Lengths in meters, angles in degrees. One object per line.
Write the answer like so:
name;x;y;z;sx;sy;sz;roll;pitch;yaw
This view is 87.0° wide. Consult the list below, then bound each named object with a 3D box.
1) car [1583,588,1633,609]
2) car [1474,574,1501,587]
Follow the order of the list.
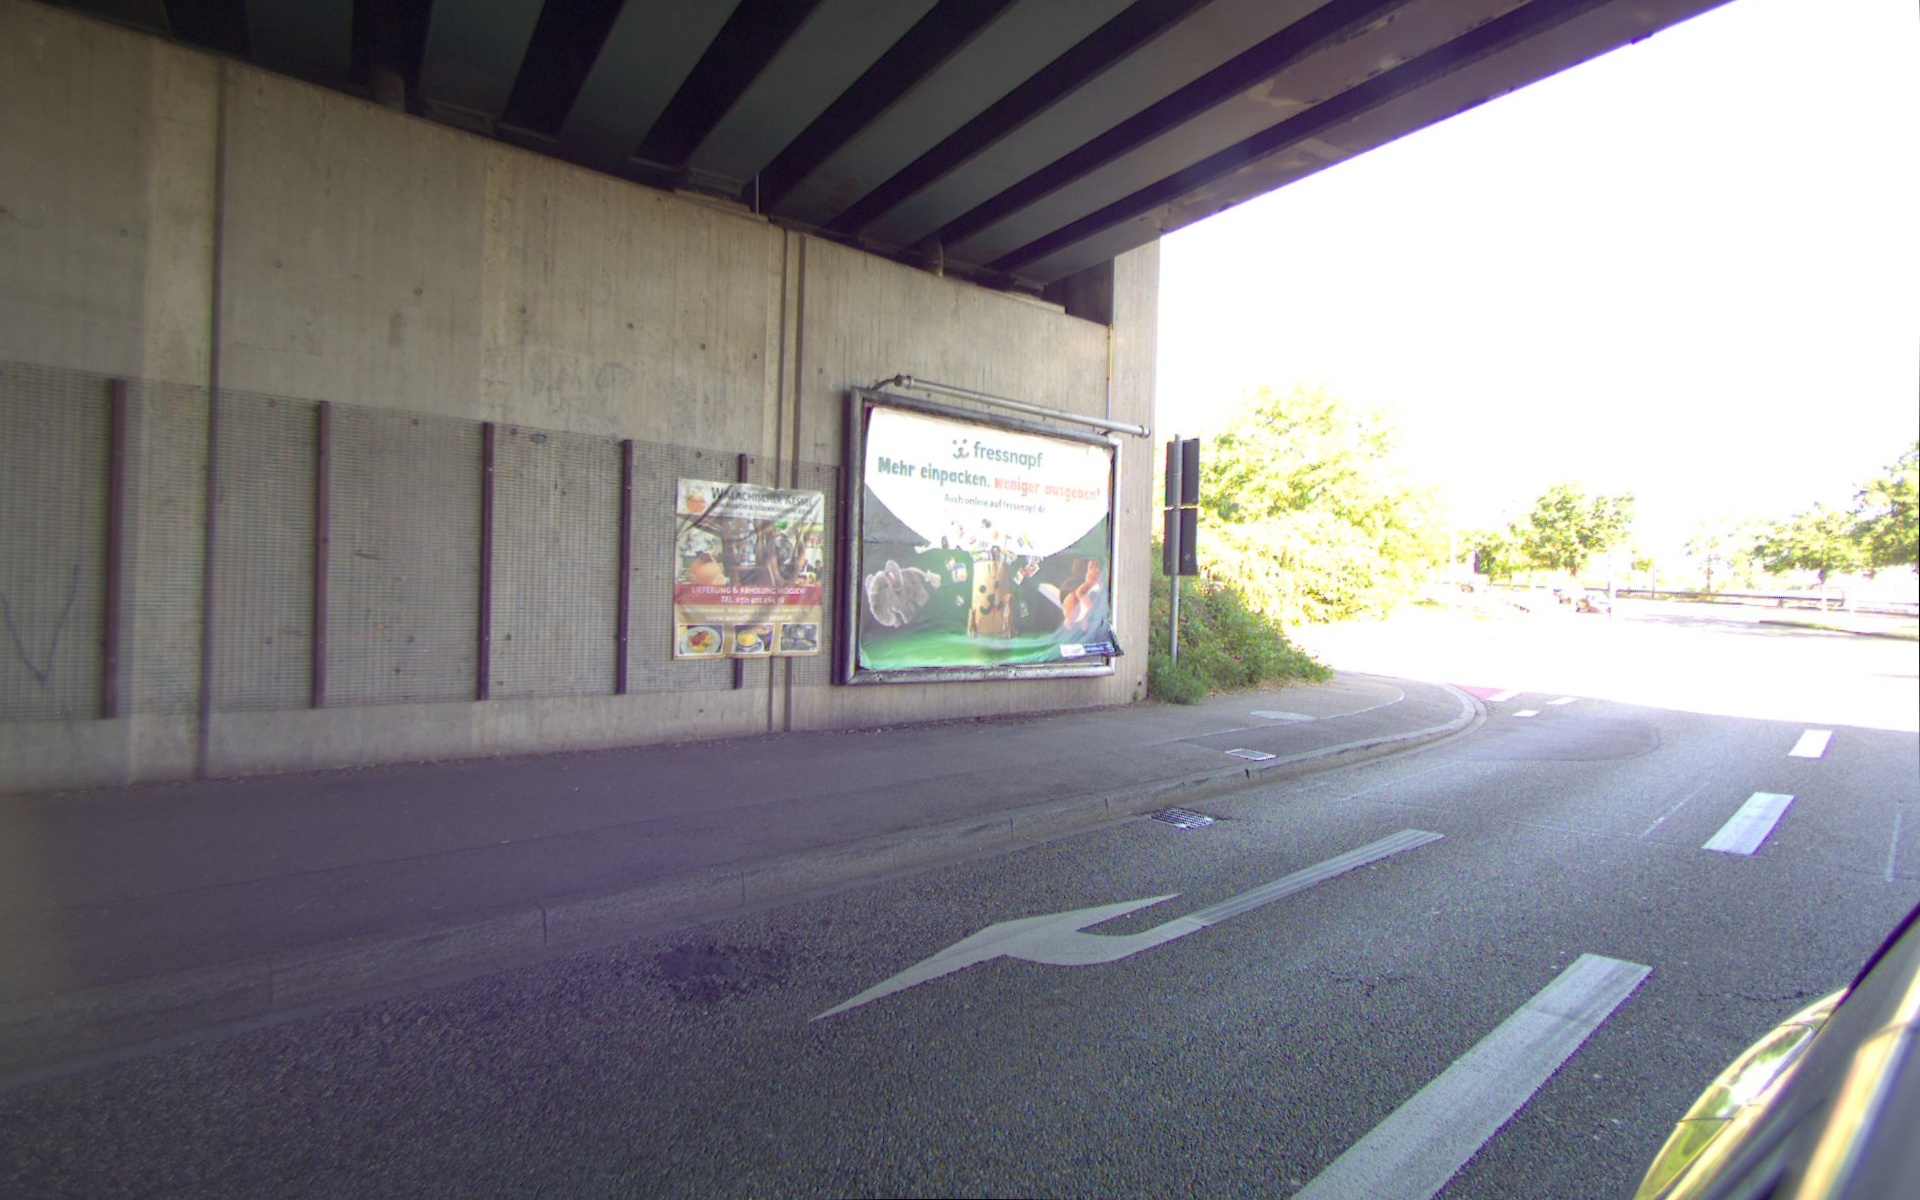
car;47.065;-0.109;73.615;1.713;1.438;4.299;2;0;14
car;62.032;-2.256;119.060;1.830;1.498;4.212;0;1;14
